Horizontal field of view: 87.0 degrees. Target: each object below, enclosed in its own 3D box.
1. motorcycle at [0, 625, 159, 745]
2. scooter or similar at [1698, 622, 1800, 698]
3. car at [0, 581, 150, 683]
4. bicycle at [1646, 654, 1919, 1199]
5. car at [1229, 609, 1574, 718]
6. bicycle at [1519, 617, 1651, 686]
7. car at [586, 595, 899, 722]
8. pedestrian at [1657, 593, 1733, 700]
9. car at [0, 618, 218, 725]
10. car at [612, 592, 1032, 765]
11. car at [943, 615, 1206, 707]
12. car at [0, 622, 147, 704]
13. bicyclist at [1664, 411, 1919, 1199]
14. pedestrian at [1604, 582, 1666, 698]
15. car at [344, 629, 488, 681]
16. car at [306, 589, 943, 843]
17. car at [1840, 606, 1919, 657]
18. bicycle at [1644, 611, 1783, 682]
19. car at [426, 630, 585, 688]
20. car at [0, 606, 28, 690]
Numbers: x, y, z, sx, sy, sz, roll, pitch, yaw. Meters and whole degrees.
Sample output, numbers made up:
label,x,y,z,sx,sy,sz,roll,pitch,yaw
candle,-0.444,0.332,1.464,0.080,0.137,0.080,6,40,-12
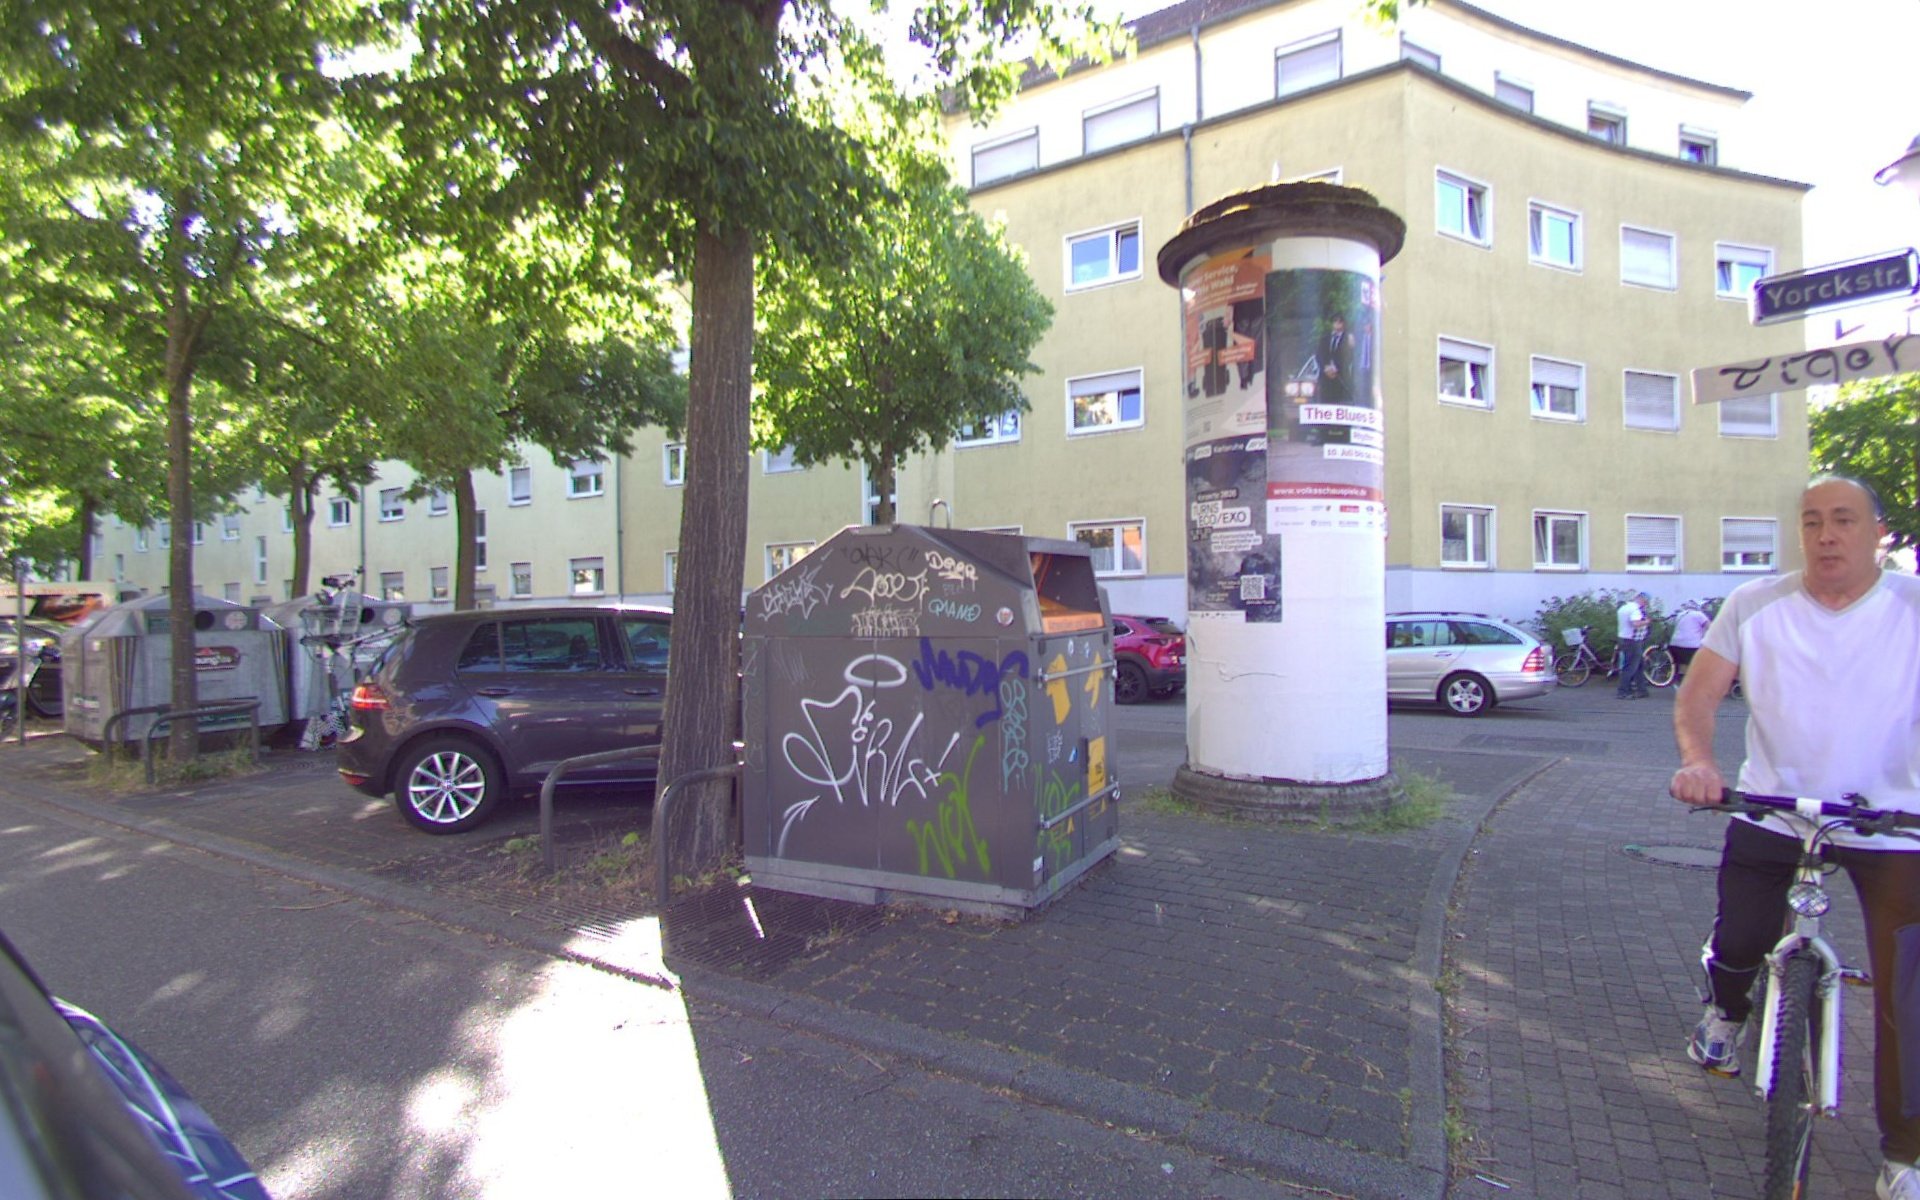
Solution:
label,x,y,z,sx,sy,sz,roll,pitch,yaw
motorcycle,-11.155,1.004,12.598,0.721,1.358,1.791,-2,-1,15
scooter or similar,11.830,0.885,15.209,0.890,1.030,0.914,-2,2,14
car,-23.936,0.825,25.987,4.515,2.509,1.993,-1,-1,-23
bicycle,2.229,0.780,2.446,0.764,1.207,1.845,-2,-1,39
car,6.481,0.889,15.073,4.477,1.422,1.713,-2,-2,34
bicycle,10.461,0.861,16.999,1.788,1.116,0.496,-2,-1,22
car,-2.864,0.721,13.952,1.759,1.484,3.945,-2,-2,41
pedestrian,10.987,0.682,15.143,0.690,1.535,0.647,-2,2,14
car,-13.687,1.039,15.023,3.931,1.452,1.829,-1,-1,-18
car,-1.437,0.712,10.319,3.931,1.484,1.765,-1,-2,-17
car,1.974,1.043,18.104,4.375,1.450,1.715,-2,-2,34
car,-18.150,1.187,19.137,3.931,1.464,1.829,-1,-1,-18
bicyclist,2.226,0.461,2.447,0.764,1.709,0.801,-2,-1,39
pedestrian,10.296,0.604,15.452,0.603,1.705,0.552,-2,2,14
car,-16.436,1.628,30.512,4.375,1.450,2.020,-2,-2,34
car,-2.271,0.710,7.442,3.932,1.484,1.765,-1,-2,-16
car,28.245,0.901,29.405,1.779,1.422,3.999,-2,-1,1
bicycle,12.403,0.765,16.696,1.779,1.116,0.499,-1,-1,9
car,-12.546,1.582,27.867,4.375,1.450,2.020,-2,-2,34
car,-23.713,1.116,22.540,3.931,1.913,1.829,-1,-1,-18
